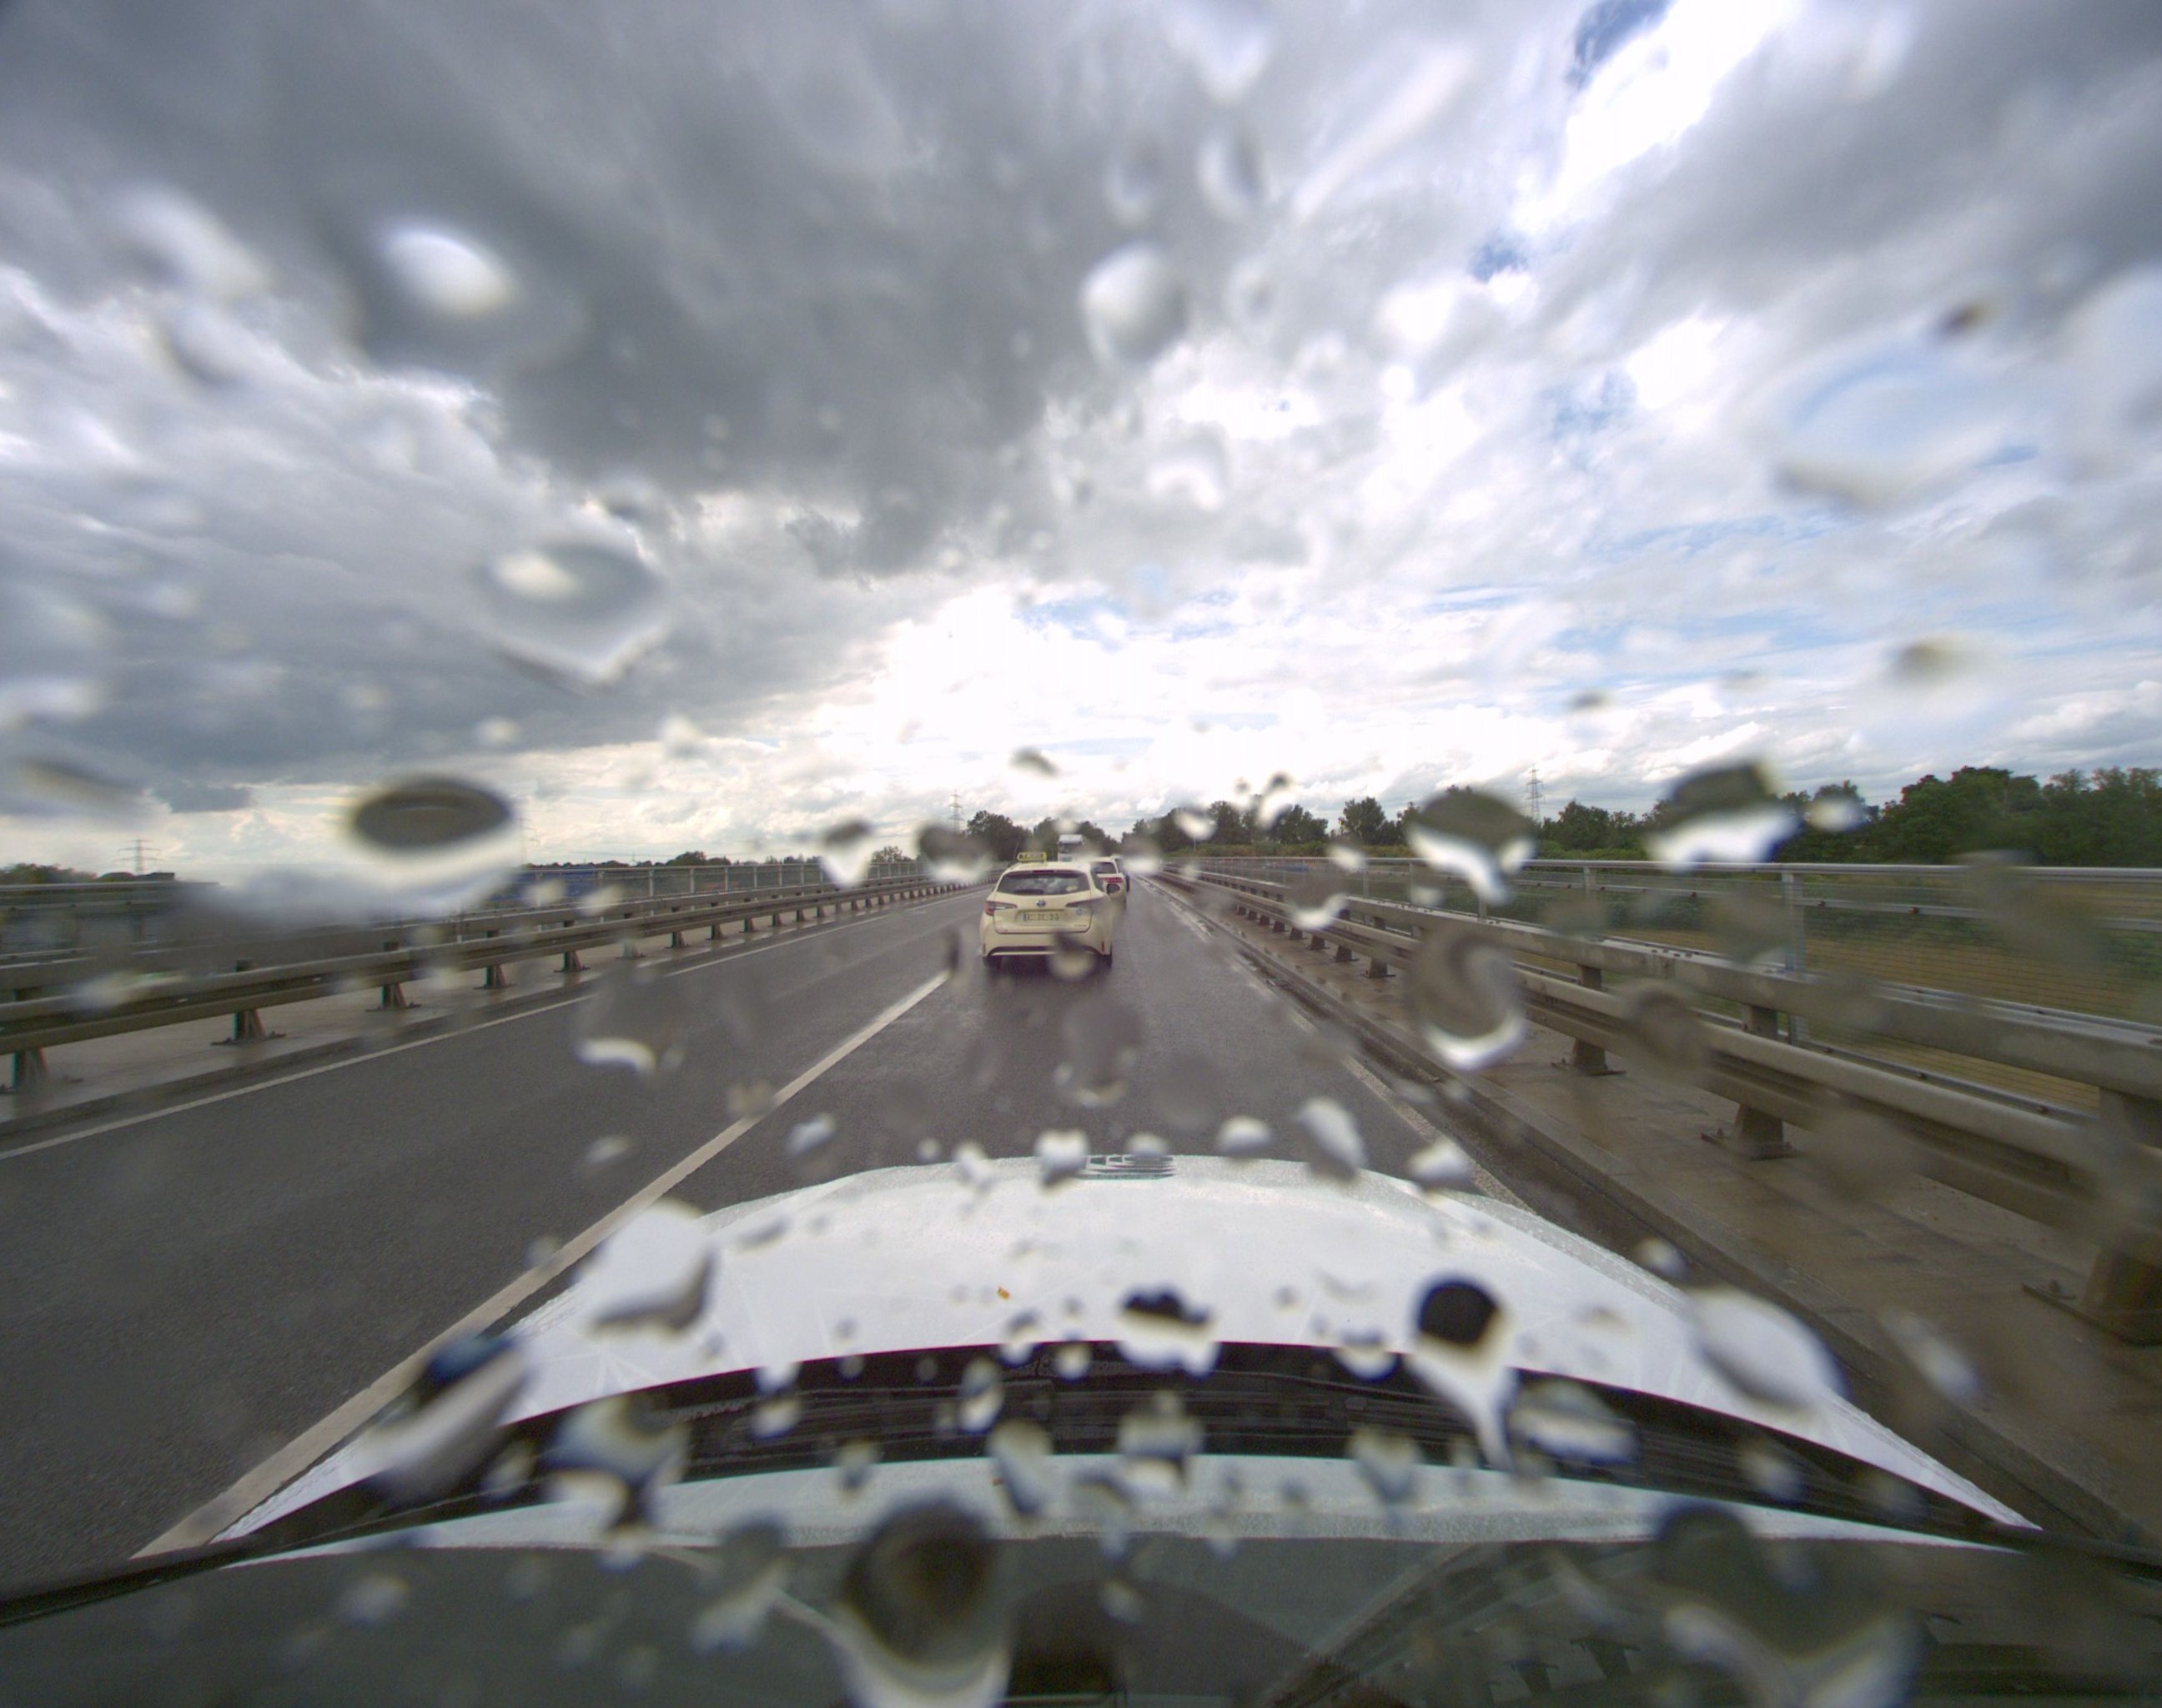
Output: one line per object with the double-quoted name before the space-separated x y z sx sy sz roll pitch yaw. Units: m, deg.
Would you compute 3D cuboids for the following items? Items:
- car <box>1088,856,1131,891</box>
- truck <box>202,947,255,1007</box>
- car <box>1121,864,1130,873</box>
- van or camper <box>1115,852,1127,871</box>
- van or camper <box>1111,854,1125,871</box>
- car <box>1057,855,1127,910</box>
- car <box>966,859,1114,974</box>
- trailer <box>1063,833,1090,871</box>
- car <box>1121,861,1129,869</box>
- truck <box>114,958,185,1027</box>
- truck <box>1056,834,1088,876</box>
"car" 1.289 0.832 36.828 1.847 1.443 4.173 0 0 2
"truck" -76.575 10.863 73.319 2.450 4.001 11.035 0 -1 -42
"car" 9.994 3.227 183.809 1.986 2.014 4.001 0 0 1
"van or camper" 7.879 1.434 160.751 2.323 3.563 6.309 0 0 2
"van or camper" 6.193 1.481 138.072 2.323 2.864 6.309 0 0 2
"car" 0.374 0.755 23.747 1.847 1.443 4.173 0 0 2
"car" -0.435 0.794 12.273 1.847 1.394 4.173 0 0 2
"trailer" -0.425 -0.204 93.254 2.672 4.075 8.490 -1 0 2
"car" 11.587 2.895 212.573 1.986 2.014 4.001 0 0 1
"truck" -75.372 11.042 66.076 2.450 4.001 11.035 0 -1 -42
"truck" -0.835 0.073 83.999 2.672 4.017 10.060 -1 0 2
